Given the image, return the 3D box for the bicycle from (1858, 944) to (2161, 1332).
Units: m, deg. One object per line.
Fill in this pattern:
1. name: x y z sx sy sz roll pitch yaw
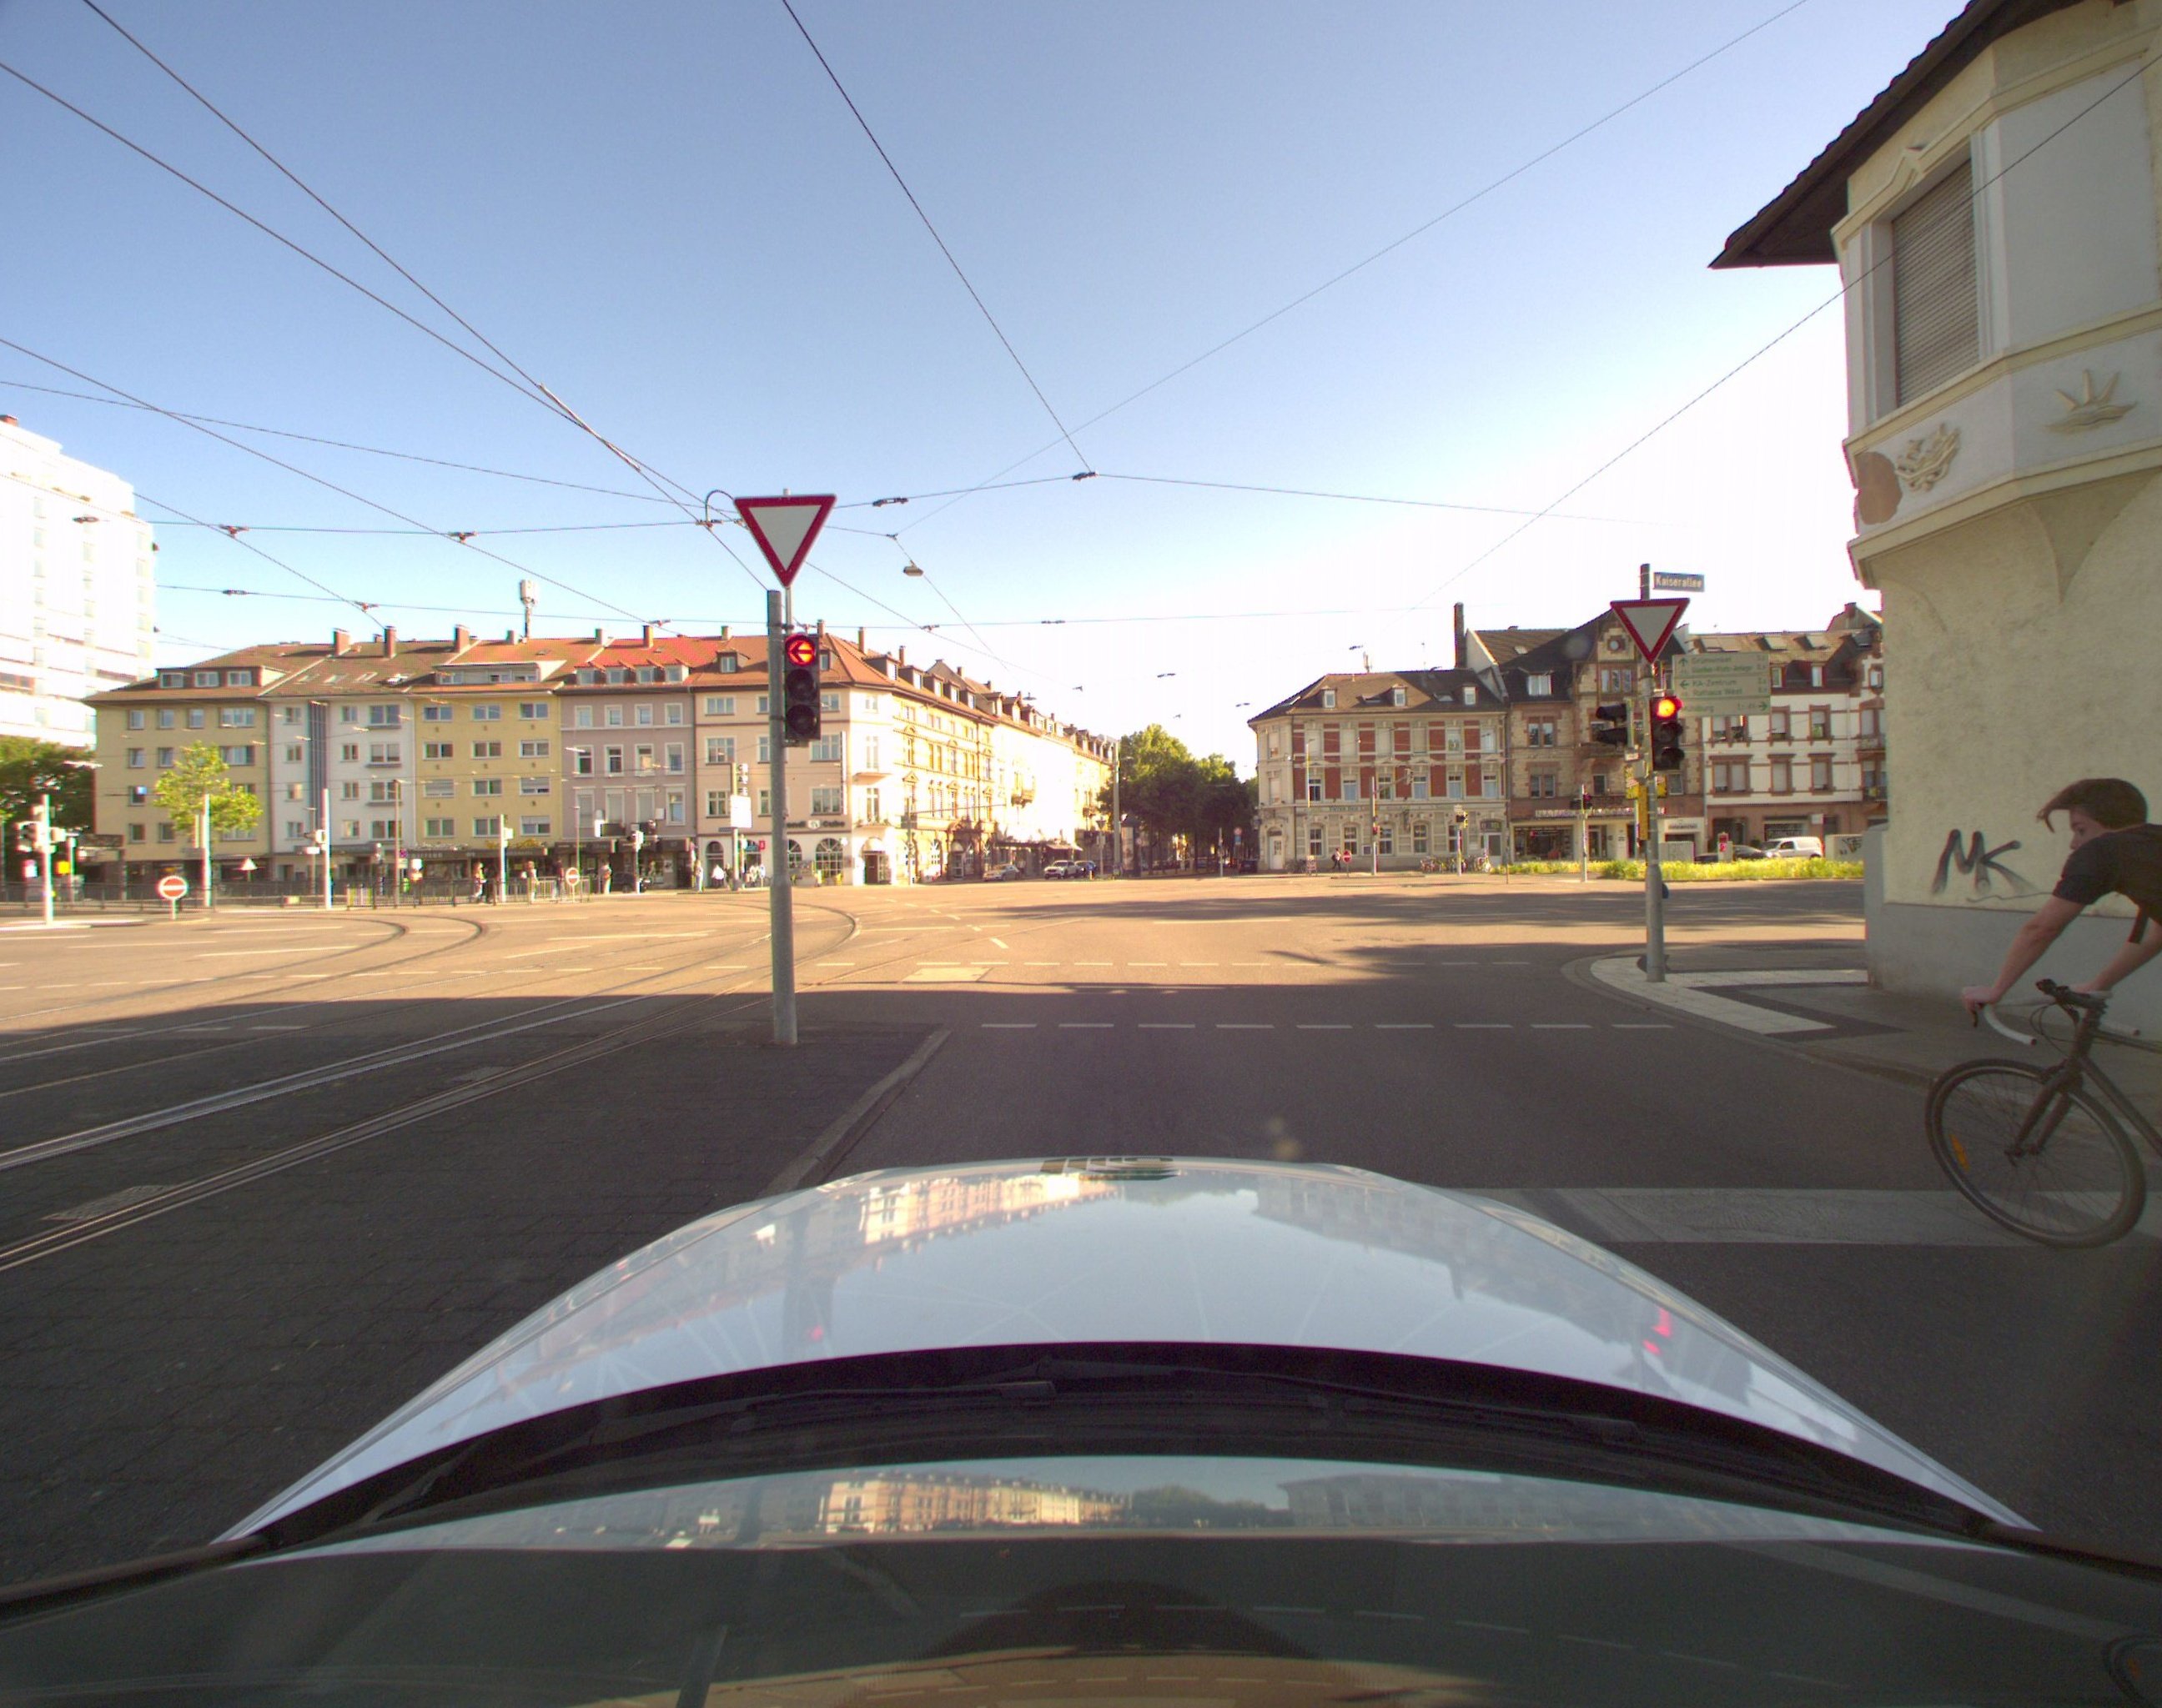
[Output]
1. bicycle: 3.563 0.919 2.502 0.568 1.058 1.890 -1 0 2

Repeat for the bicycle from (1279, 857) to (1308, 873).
1. bicycle: 14.916 0.745 57.139 1.940 1.054 0.717 -1 0 11

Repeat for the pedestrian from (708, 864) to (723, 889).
1. pedestrian: -25.284 1.572 56.372 0.740 1.682 0.626 -1 0 -10

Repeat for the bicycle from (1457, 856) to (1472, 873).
1. bicycle: 24.821 0.671 52.714 0.483 1.020 1.789 -1 0 12

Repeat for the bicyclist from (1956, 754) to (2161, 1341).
1. bicyclist: 3.561 0.576 2.500 0.649 1.767 0.995 -1 0 2

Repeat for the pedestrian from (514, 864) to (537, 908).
1. pedestrian: -22.981 1.327 33.702 0.558 1.786 0.560 -1 0 1

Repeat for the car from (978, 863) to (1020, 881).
1. car: -6.755 1.473 67.363 1.977 1.361 3.836 -1 0 18

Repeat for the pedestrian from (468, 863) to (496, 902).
1. pedestrian: -24.627 1.153 33.493 0.696 1.581 0.560 -1 0 1

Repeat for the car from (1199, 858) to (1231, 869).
1. car: 17.340 1.218 105.161 3.959 1.288 1.700 -1 0 13

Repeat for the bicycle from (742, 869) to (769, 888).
1. bicycle: -23.031 1.736 57.631 1.714 1.276 0.385 -1 0 -16

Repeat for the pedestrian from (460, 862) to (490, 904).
1. pedestrian: -24.163 1.144 32.478 0.738 1.635 0.572 -1 0 1

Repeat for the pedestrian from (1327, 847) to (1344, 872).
1. pedestrian: 17.588 0.379 56.318 1.029 1.712 0.631 -1 -1 10

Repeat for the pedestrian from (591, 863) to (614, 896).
1. pedestrian: -24.902 1.306 42.379 0.764 1.682 0.628 -1 0 1

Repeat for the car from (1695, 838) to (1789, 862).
1. car: 38.507 -0.239 47.494 4.044 1.300 1.723 -1 0 2

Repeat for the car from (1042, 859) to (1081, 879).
1. car: -1.586 1.214 67.669 1.977 1.516 4.189 -1 0 18

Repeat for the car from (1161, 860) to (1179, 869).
1. car: 14.334 1.700 131.259 1.977 1.404 4.189 -1 0 18

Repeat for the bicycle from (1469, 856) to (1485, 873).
1. bicycle: 25.632 0.665 52.762 0.483 1.020 1.789 -1 0 12

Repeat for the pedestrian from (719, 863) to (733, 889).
1. pedestrian: -23.071 1.408 52.931 0.744 1.682 0.623 -1 0 -23

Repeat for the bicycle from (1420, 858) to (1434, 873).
1. bicycle: 22.486 0.727 52.977 0.483 0.914 1.789 -1 0 12

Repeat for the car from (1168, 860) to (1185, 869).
1. car: 16.034 1.729 136.418 1.977 1.404 4.189 -1 0 18

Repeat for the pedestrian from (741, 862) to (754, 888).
1. pedestrian: -21.662 1.344 52.836 0.744 1.682 0.623 -1 0 -23

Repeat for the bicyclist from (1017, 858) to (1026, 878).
1. bicyclist: -4.764 1.090 65.470 0.486 1.601 0.668 -1 0 12

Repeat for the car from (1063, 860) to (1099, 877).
1. car: 0.035 1.307 73.806 1.977 1.404 4.189 -1 0 18

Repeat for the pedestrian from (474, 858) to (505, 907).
1. pedestrian: -23.243 1.108 32.005 0.625 1.850 0.778 -1 0 1

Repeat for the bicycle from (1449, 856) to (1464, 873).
1. bicycle: 24.318 0.675 52.805 0.483 1.020 1.789 -1 0 12

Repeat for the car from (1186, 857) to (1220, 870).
1. car: 14.966 1.148 99.507 3.959 1.454 1.687 -1 0 13

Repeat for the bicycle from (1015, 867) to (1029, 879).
1. bicycle: -4.758 1.528 65.568 0.650 1.000 1.671 -1 -1 14

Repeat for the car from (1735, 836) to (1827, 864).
1. car: 45.117 -0.247 52.527 4.239 1.622 1.999 -1 0 -1

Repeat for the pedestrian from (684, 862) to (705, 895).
1. pedestrian: -19.958 1.270 42.102 0.738 1.682 0.628 -1 0 1

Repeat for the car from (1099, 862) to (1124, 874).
1. car: 3.836 1.705 102.175 1.977 1.404 4.189 -1 0 18

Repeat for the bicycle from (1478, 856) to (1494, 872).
1. bicycle: 26.337 0.661 52.917 0.483 1.020 1.789 -1 0 12

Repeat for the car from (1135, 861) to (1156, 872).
1. car: 9.250 1.806 116.823 1.977 1.404 4.189 -1 0 18

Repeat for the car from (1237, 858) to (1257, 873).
1. car: 16.804 1.125 82.293 1.742 1.420 4.016 -1 0 14

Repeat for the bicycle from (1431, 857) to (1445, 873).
1. bicycle: 23.162 0.716 52.874 0.483 1.020 1.789 -1 0 12

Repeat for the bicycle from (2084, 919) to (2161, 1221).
1. bicycle: 4.506 0.858 2.488 0.568 1.165 1.890 -1 0 2

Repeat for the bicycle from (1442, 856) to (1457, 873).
1. bicycle: 23.858 0.678 52.755 0.483 1.020 1.789 -1 0 12

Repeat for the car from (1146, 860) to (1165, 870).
1. car: 11.204 1.681 122.501 1.977 1.404 4.189 -1 0 18

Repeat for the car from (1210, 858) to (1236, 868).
1. car: 19.384 1.206 111.189 3.409 1.239 1.582 -1 0 13

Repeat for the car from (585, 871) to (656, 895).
1. car: -30.329 1.900 53.699 3.711 1.491 1.820 0 -1 4

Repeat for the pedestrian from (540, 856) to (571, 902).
1. pedestrian: -21.465 1.018 33.271 0.764 1.829 0.723 -1 0 1

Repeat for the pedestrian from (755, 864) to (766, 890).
1. pedestrian: -15.826 1.133 40.216 0.364 1.253 0.449 -1 0 -10
